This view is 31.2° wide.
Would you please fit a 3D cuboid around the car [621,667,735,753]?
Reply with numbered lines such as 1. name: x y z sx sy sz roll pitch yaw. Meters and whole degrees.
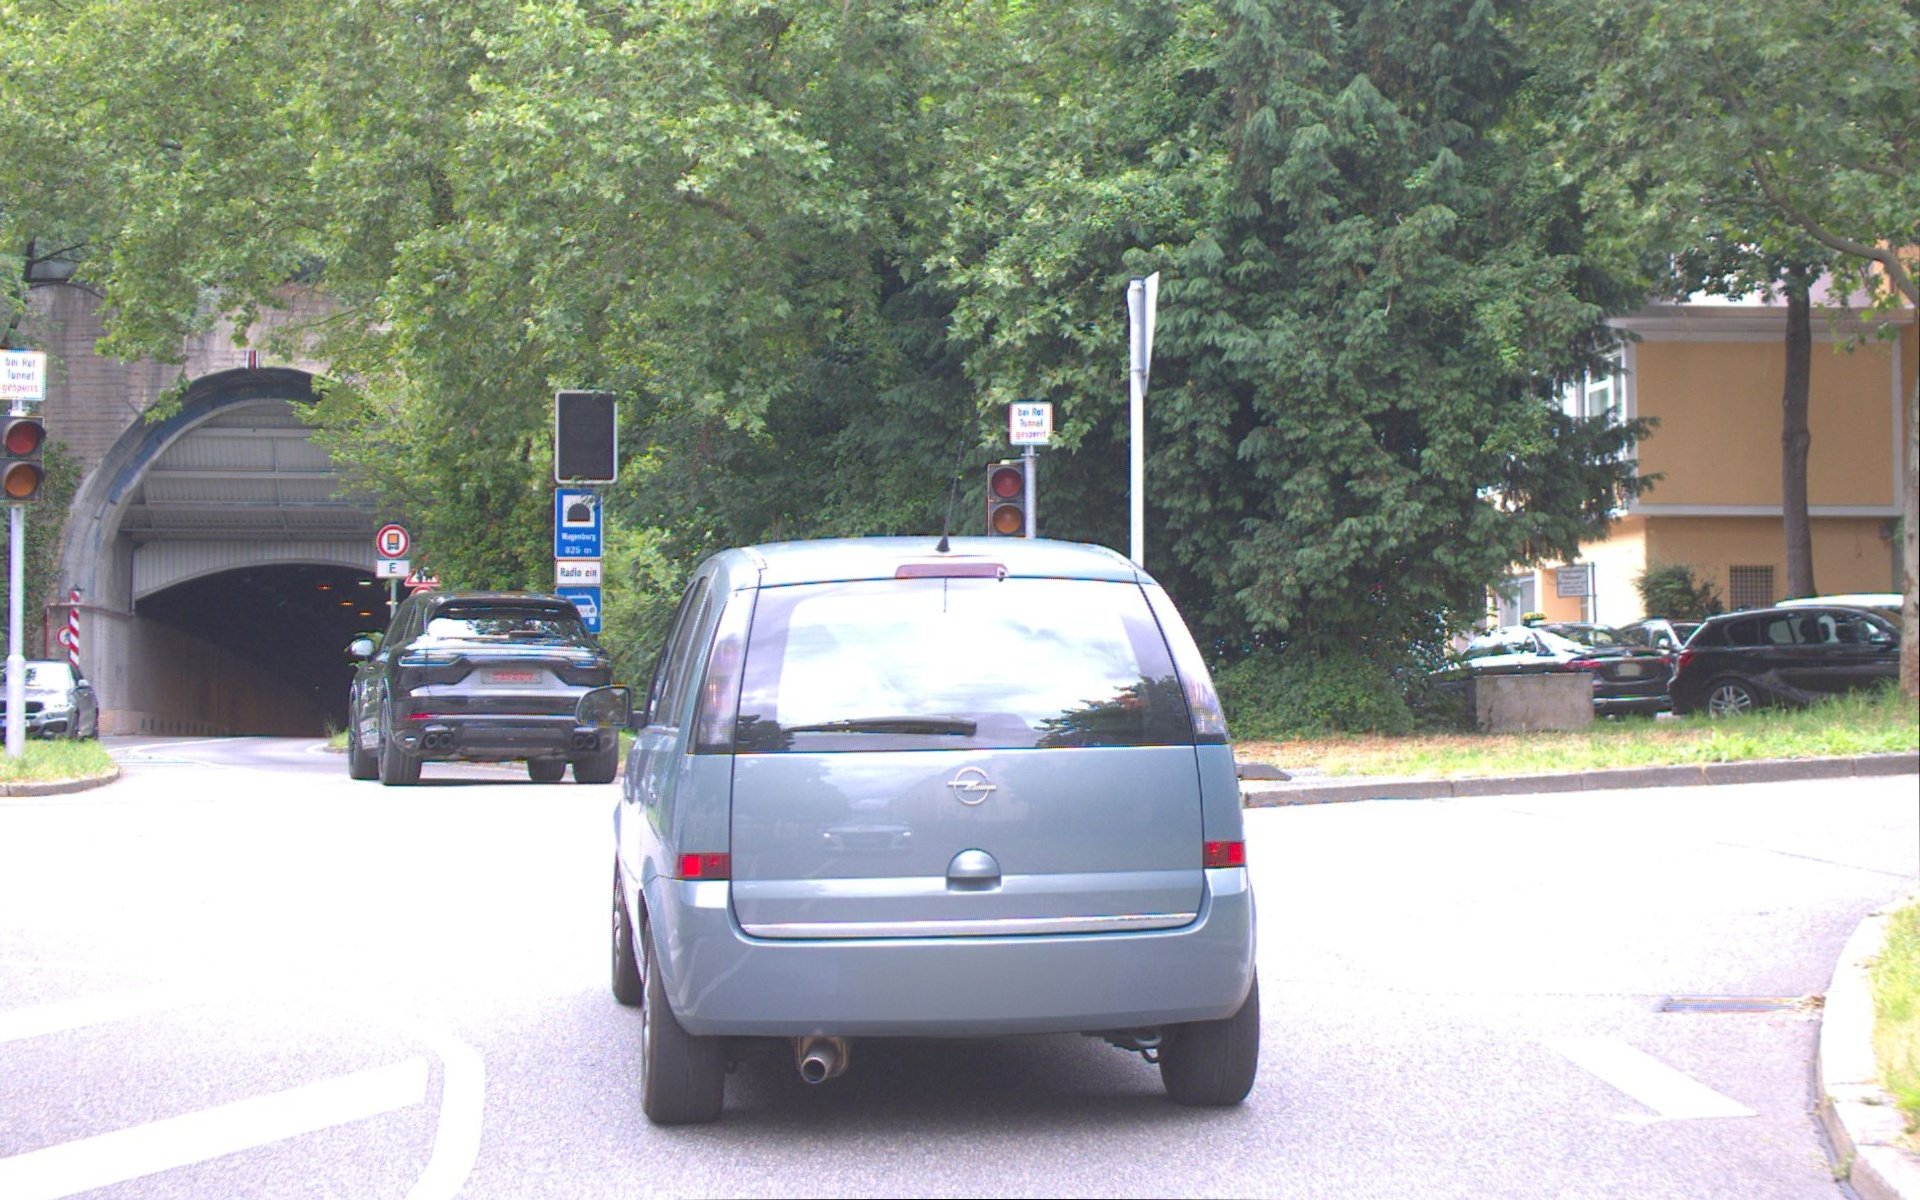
1. car: -5.055 1.950 61.180 1.784 1.437 5.063 -1 -2 -7

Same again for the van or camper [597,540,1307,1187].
1. van or camper: -0.200 0.629 10.535 1.735 1.572 3.647 -1 1 -7

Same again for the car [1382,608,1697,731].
1. car: 7.883 0.974 47.291 1.993 1.573 4.905 -1 -1 -21

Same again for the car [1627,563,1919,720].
1. car: 9.937 0.395 38.385 4.418 1.480 1.860 -6 -1 30

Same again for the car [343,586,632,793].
1. car: -4.202 0.727 30.077 1.993 1.647 4.001 -1 0 -15

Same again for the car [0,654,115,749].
1. car: -17.150 1.895 64.224 1.869 1.693 4.936 0 -2 -5
